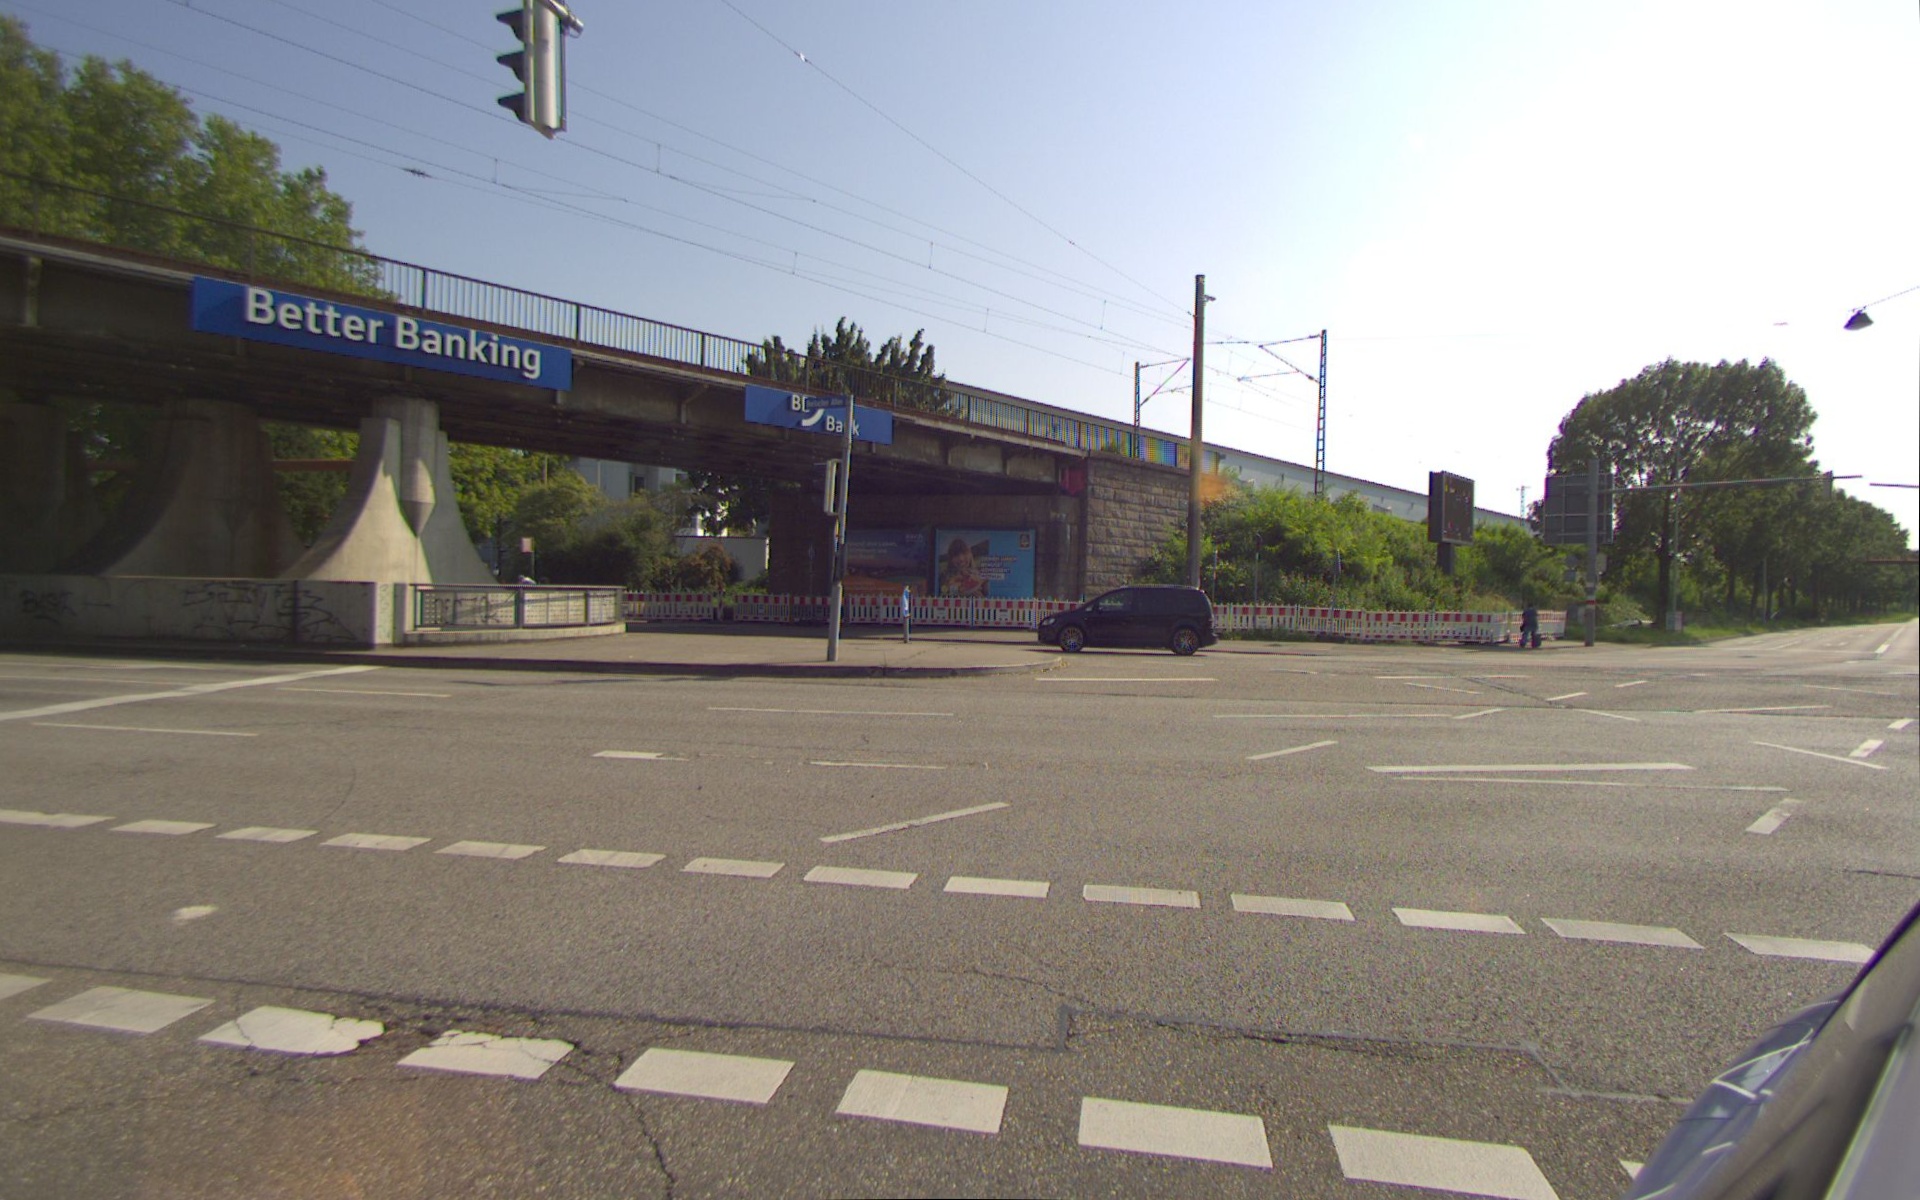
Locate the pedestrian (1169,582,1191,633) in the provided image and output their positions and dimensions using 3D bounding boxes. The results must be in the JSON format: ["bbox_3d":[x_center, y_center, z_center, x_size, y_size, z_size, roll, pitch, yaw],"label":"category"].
[{"bbox_3d":[6.910,0.227,31.808,0.624,1.594,0.489,0,0,8],"label":"pedestrian"}]

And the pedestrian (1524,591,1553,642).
[{"bbox_3d":[18.617,0.527,32.589,0.647,1.593,0.749,3,2,39],"label":"pedestrian"}]

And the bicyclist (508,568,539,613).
[{"bbox_3d":[-14.200,-0.315,32.903,0.799,1.443,0.442,0,2,7],"label":"bicyclist"}]

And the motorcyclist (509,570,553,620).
[{"bbox_3d":[-12.728,-0.162,30.024,0.925,1.449,0.741,1,1,10],"label":"motorcyclist"}]

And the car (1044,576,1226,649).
[{"bbox_3d":[4.147,0.300,24.333,4.124,1.608,1.777,1,-2,8],"label":"car"}]
